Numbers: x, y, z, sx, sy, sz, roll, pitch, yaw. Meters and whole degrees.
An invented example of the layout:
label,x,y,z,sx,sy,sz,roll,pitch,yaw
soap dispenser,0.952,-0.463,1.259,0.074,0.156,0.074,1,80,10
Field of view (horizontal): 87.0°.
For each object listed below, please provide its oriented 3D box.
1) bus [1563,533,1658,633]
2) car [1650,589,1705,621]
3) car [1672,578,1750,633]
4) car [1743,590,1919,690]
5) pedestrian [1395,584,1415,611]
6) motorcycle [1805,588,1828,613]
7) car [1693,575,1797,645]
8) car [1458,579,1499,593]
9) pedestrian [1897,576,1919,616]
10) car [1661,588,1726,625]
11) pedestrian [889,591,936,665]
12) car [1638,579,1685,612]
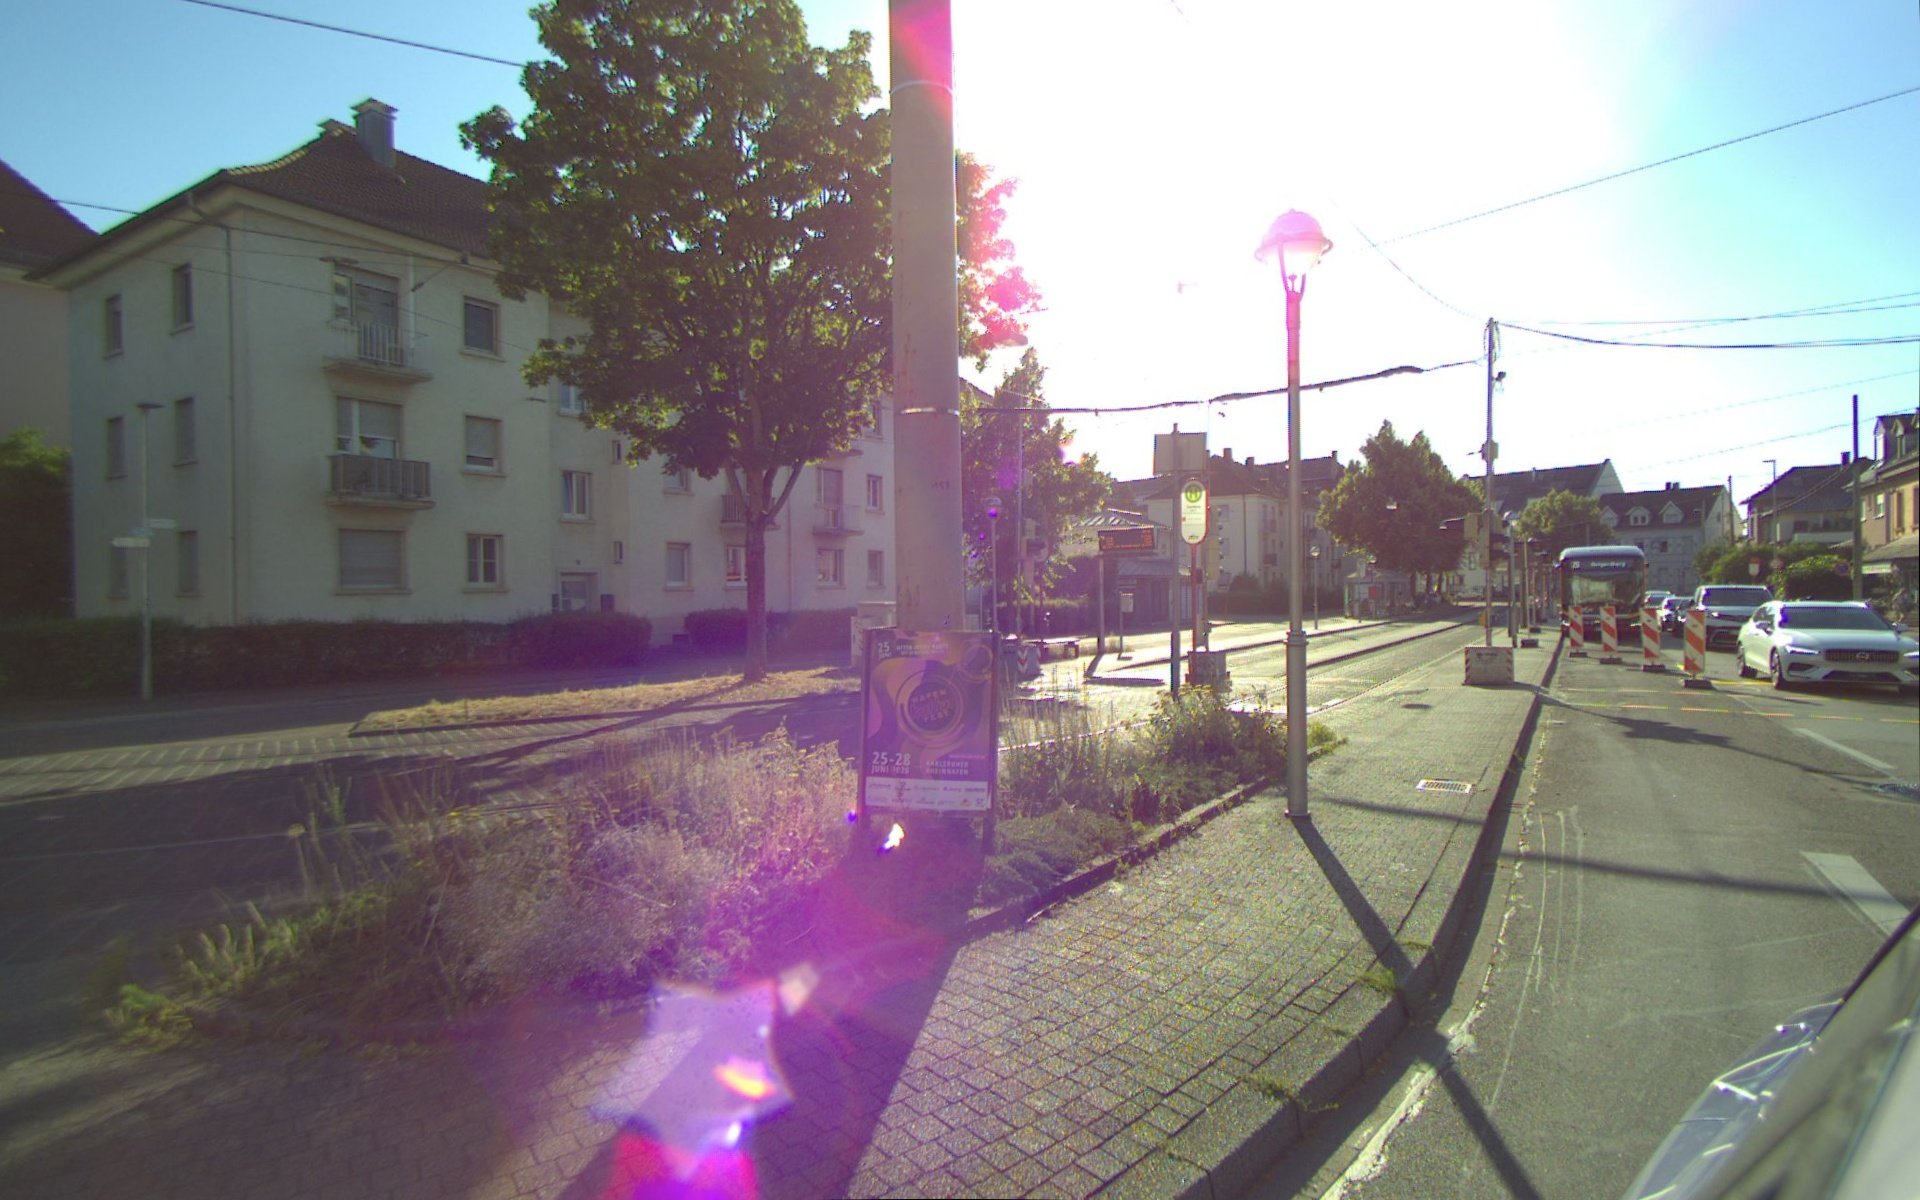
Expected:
label,x,y,z,sx,sy,sz,roll,pitch,yaw
bus,25.343,-0.625,39.624,2.729,3.344,11.894,0,1,32
car,34.579,0.212,48.856,1.956,1.477,4.767,0,1,33
car,27.161,0.164,36.736,1.956,1.850,4.974,0,1,33
car,14.762,0.570,17.104,1.806,1.472,4.174,0,1,29
pedestrian,27.532,-0.156,62.595,0.809,1.631,0.843,0,0,-2
motorcycle,43.612,0.032,51.553,0.704,1.232,2.159,0,1,35
car,22.717,0.236,29.474,1.956,1.850,4.974,0,1,33
car,70.140,-1.926,136.972,1.712,1.879,4.586,-1,1,-41
pedestrian,41.961,-0.178,44.501,0.798,1.735,0.856,0,0,15
car,30.919,0.243,42.765,1.956,1.477,4.767,0,1,33
pedestrian,-1.080,0.629,23.223,0.783,1.640,0.819,0,1,25
car,39.109,-0.265,56.512,1.956,1.726,4.767,0,1,33
